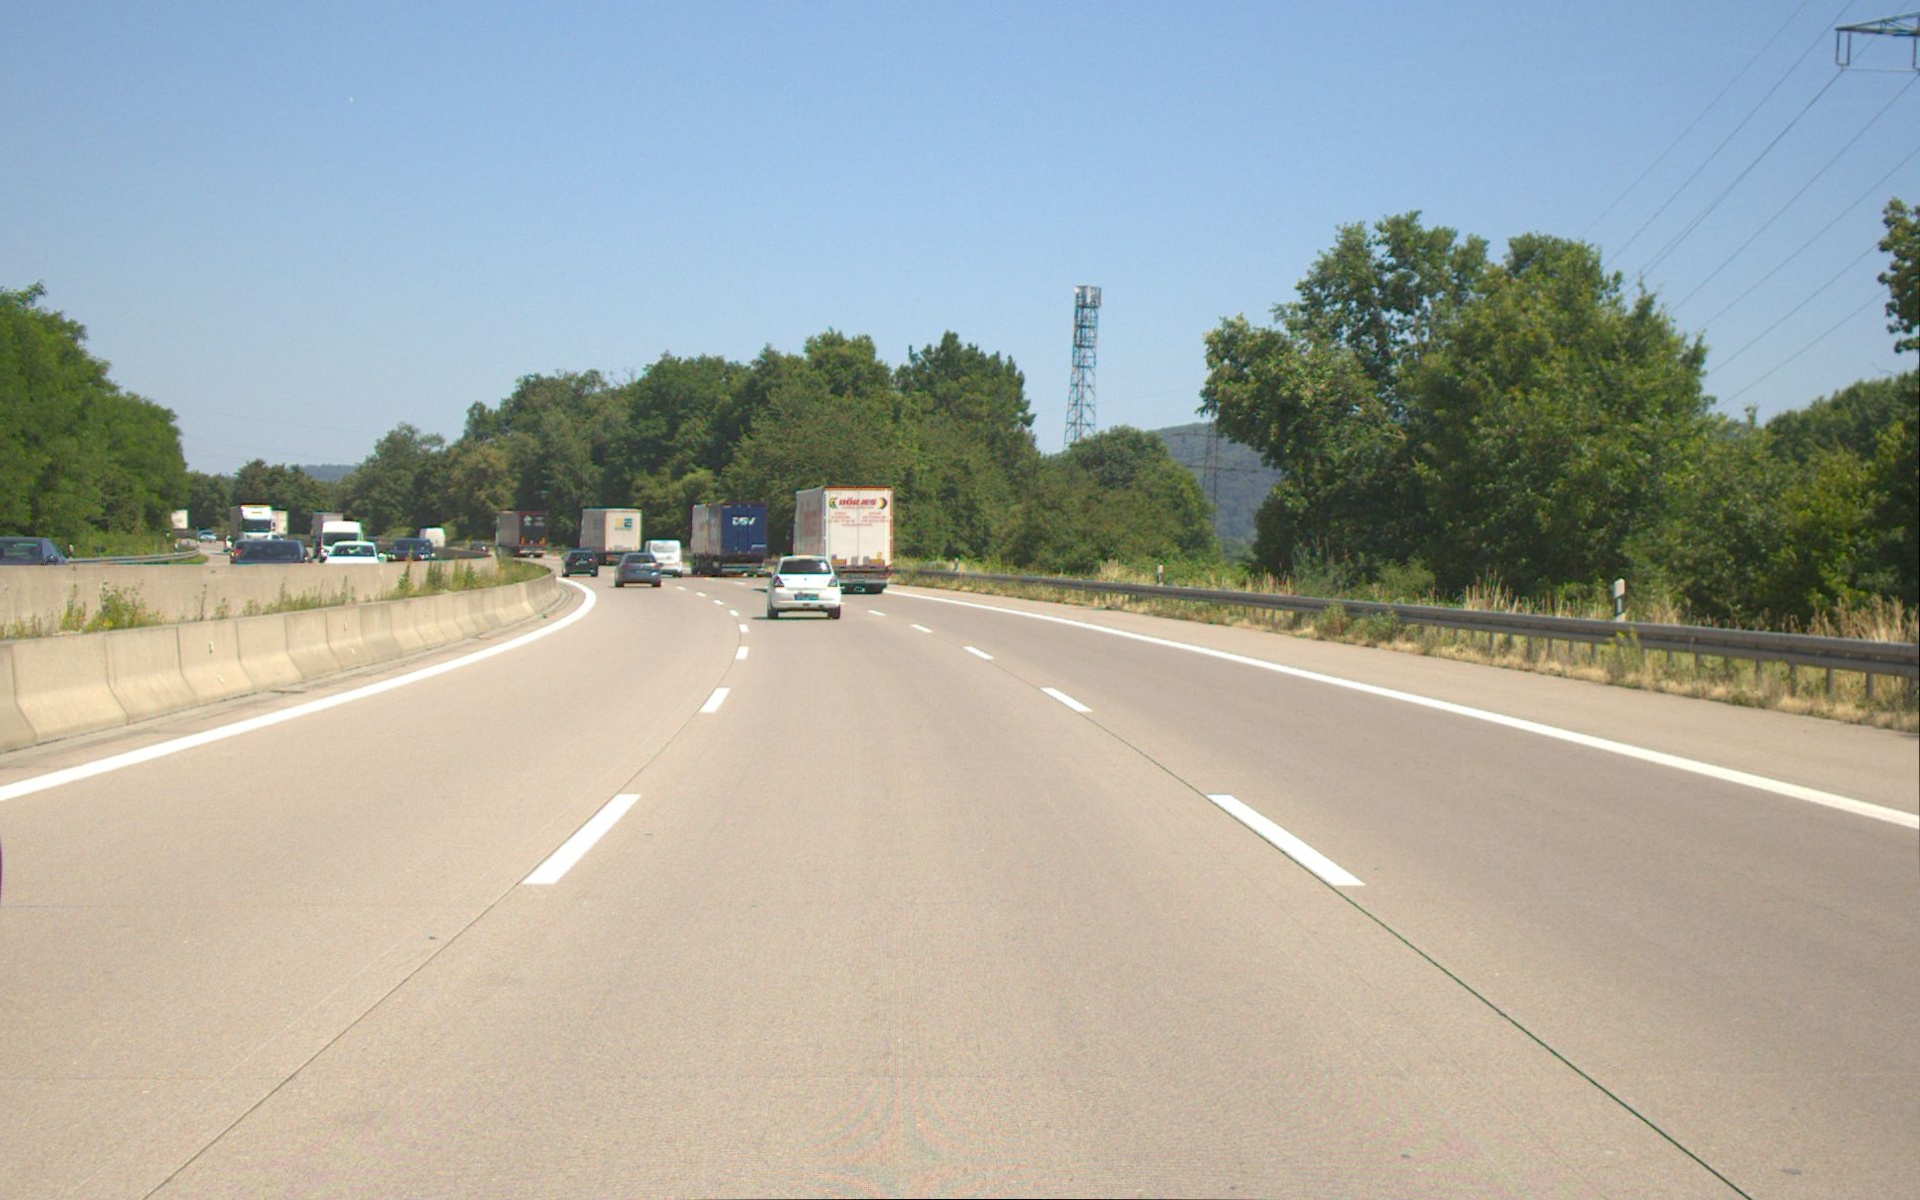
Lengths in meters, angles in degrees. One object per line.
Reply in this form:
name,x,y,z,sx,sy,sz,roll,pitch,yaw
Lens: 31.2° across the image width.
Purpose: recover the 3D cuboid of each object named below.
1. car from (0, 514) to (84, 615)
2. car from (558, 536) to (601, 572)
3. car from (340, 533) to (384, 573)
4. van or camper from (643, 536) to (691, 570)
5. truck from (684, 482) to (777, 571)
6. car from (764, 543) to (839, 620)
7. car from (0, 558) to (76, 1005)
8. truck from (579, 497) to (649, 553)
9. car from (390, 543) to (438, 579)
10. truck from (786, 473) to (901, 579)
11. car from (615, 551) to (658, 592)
car,-19.357,-0.748,70.663,1.862,2.007,4.001,1,1,-3
car,-20.694,-2.507,186.969,2.022,1.694,4.001,5,1,-8
car,-29.377,-2.305,168.844,1.938,1.952,4.001,0,1,-13
van or camper,-15.706,-2.516,184.193,1.867,1.831,4.001,0,1,-15
truck,-12.821,-4.043,190.527,3.906,4.725,14.054,0,1,-9
car,-3.832,-0.470,82.930,1.641,1.656,3.361,5,1,-3
car,-4.063,0.632,9.583,1.890,1.468,5.604,0,1,-2
truck,-25.467,-5.472,252.459,3.895,3.969,13.625,0,1,-11
car,-24.389,-1.744,153.637,1.993,1.610,4.001,0,1,-7
truck,-4.602,-2.815,132.879,3.819,3.876,14.155,0,1,-4
car,-13.815,-1.223,146.586,1.610,1.719,3.574,0,1,-9
